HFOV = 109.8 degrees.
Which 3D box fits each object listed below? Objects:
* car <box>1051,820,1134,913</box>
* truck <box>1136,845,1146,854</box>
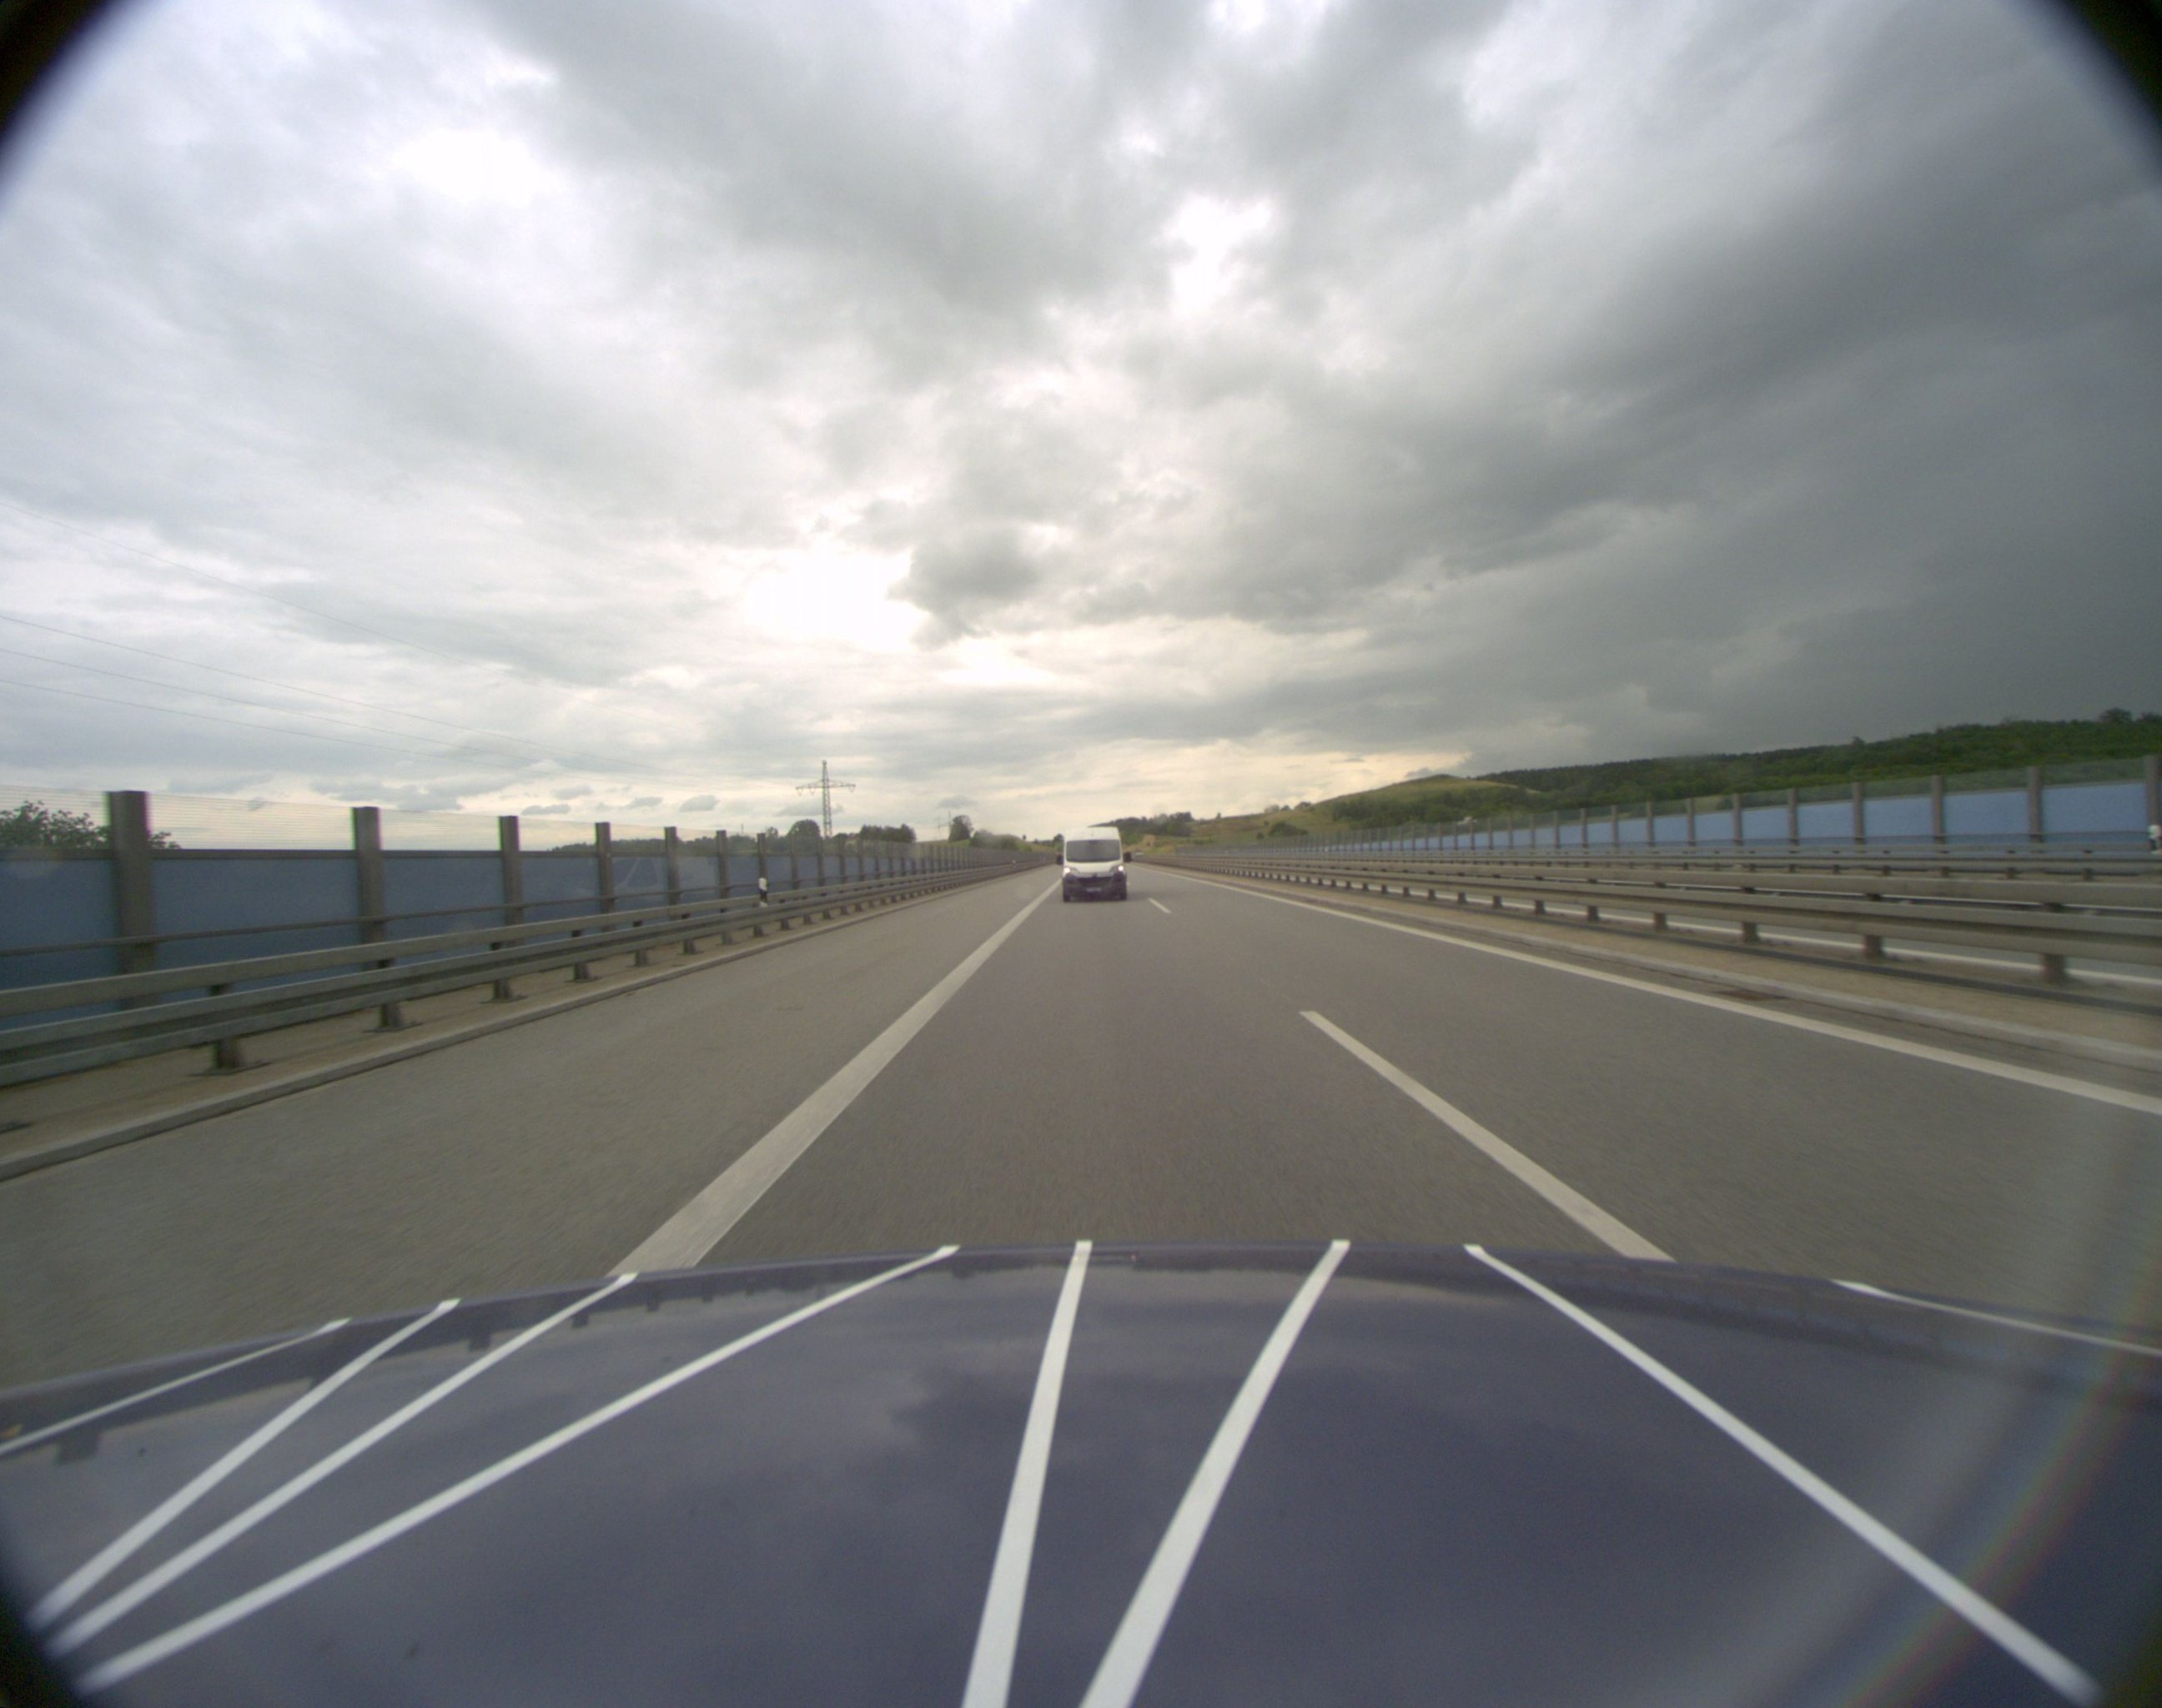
[{"bbox_3d":[0.402,0.354,23.169,2.132,2.411,6.112,-1,0,2],"label":"car"},{"bbox_3d":[16.906,-1.124,215.127,2.278,2.417,7.451,-2,0,1],"label":"truck"}]
